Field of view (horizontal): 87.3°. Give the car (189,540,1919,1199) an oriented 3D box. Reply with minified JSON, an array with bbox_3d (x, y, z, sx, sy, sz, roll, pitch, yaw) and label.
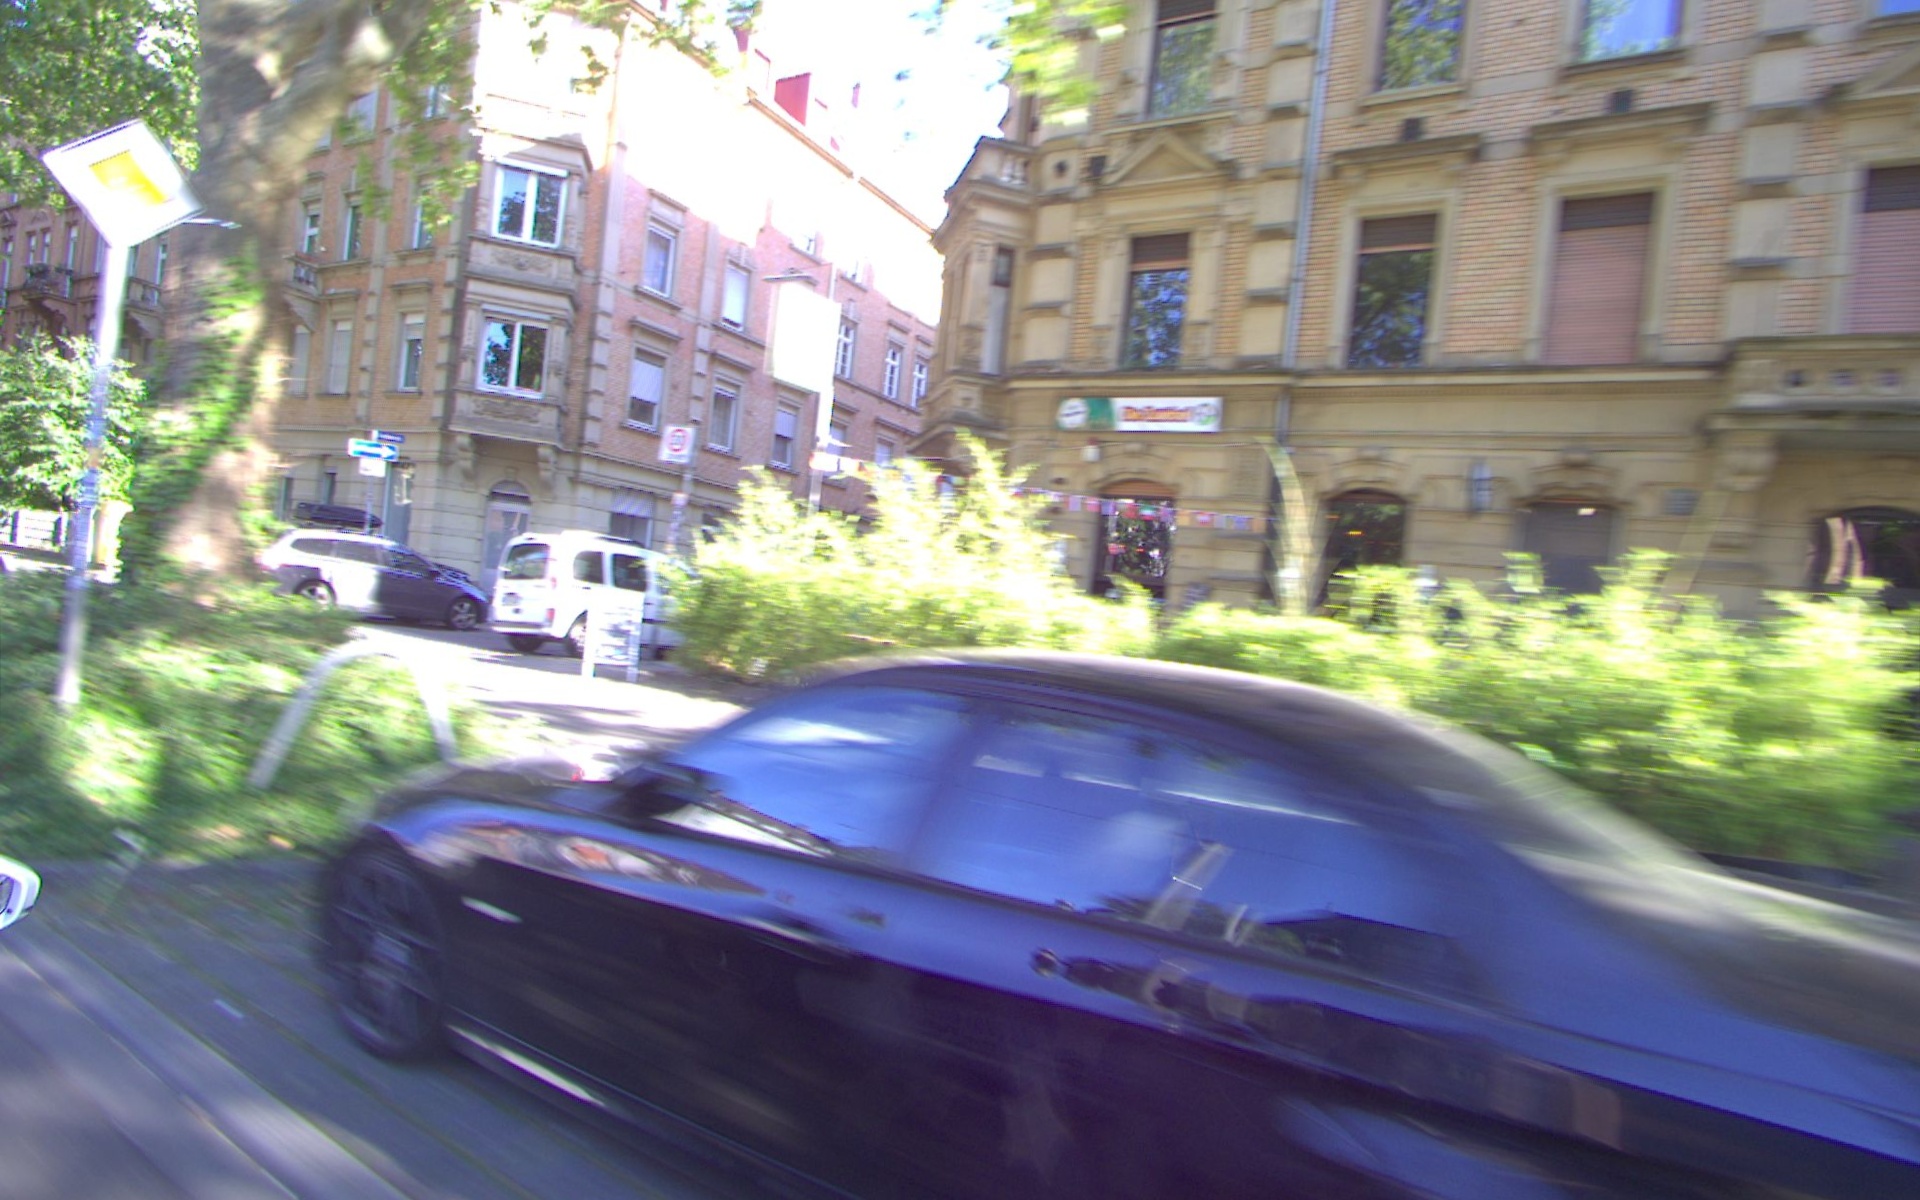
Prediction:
[{"bbox_3d":[-0.155,0.754,2.870,4.494,1.412,1.677,6,1,31],"label":"car"}]

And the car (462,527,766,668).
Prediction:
[{"bbox_3d":[-5.545,0.063,16.764,1.875,1.869,4.555,6,-1,30],"label":"car"}]

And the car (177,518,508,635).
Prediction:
[{"bbox_3d":[-10.606,-0.322,17.688,1.875,1.558,4.555,6,0,28],"label":"car"}]

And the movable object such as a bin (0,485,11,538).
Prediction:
[{"bbox_3d":[-27.988,-2.592,28.783,1.065,1.484,0.907,7,3,29],"label":"movable object such as a bin"}]

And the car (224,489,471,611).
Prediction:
[{"bbox_3d":[-13.170,-1.004,21.889,1.965,2.039,3.993,10,2,28],"label":"car"}]

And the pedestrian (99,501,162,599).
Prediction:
[{"bbox_3d":[-14.105,-0.845,17.102,0.597,1.570,0.540,9,3,29],"label":"pedestrian"}]
